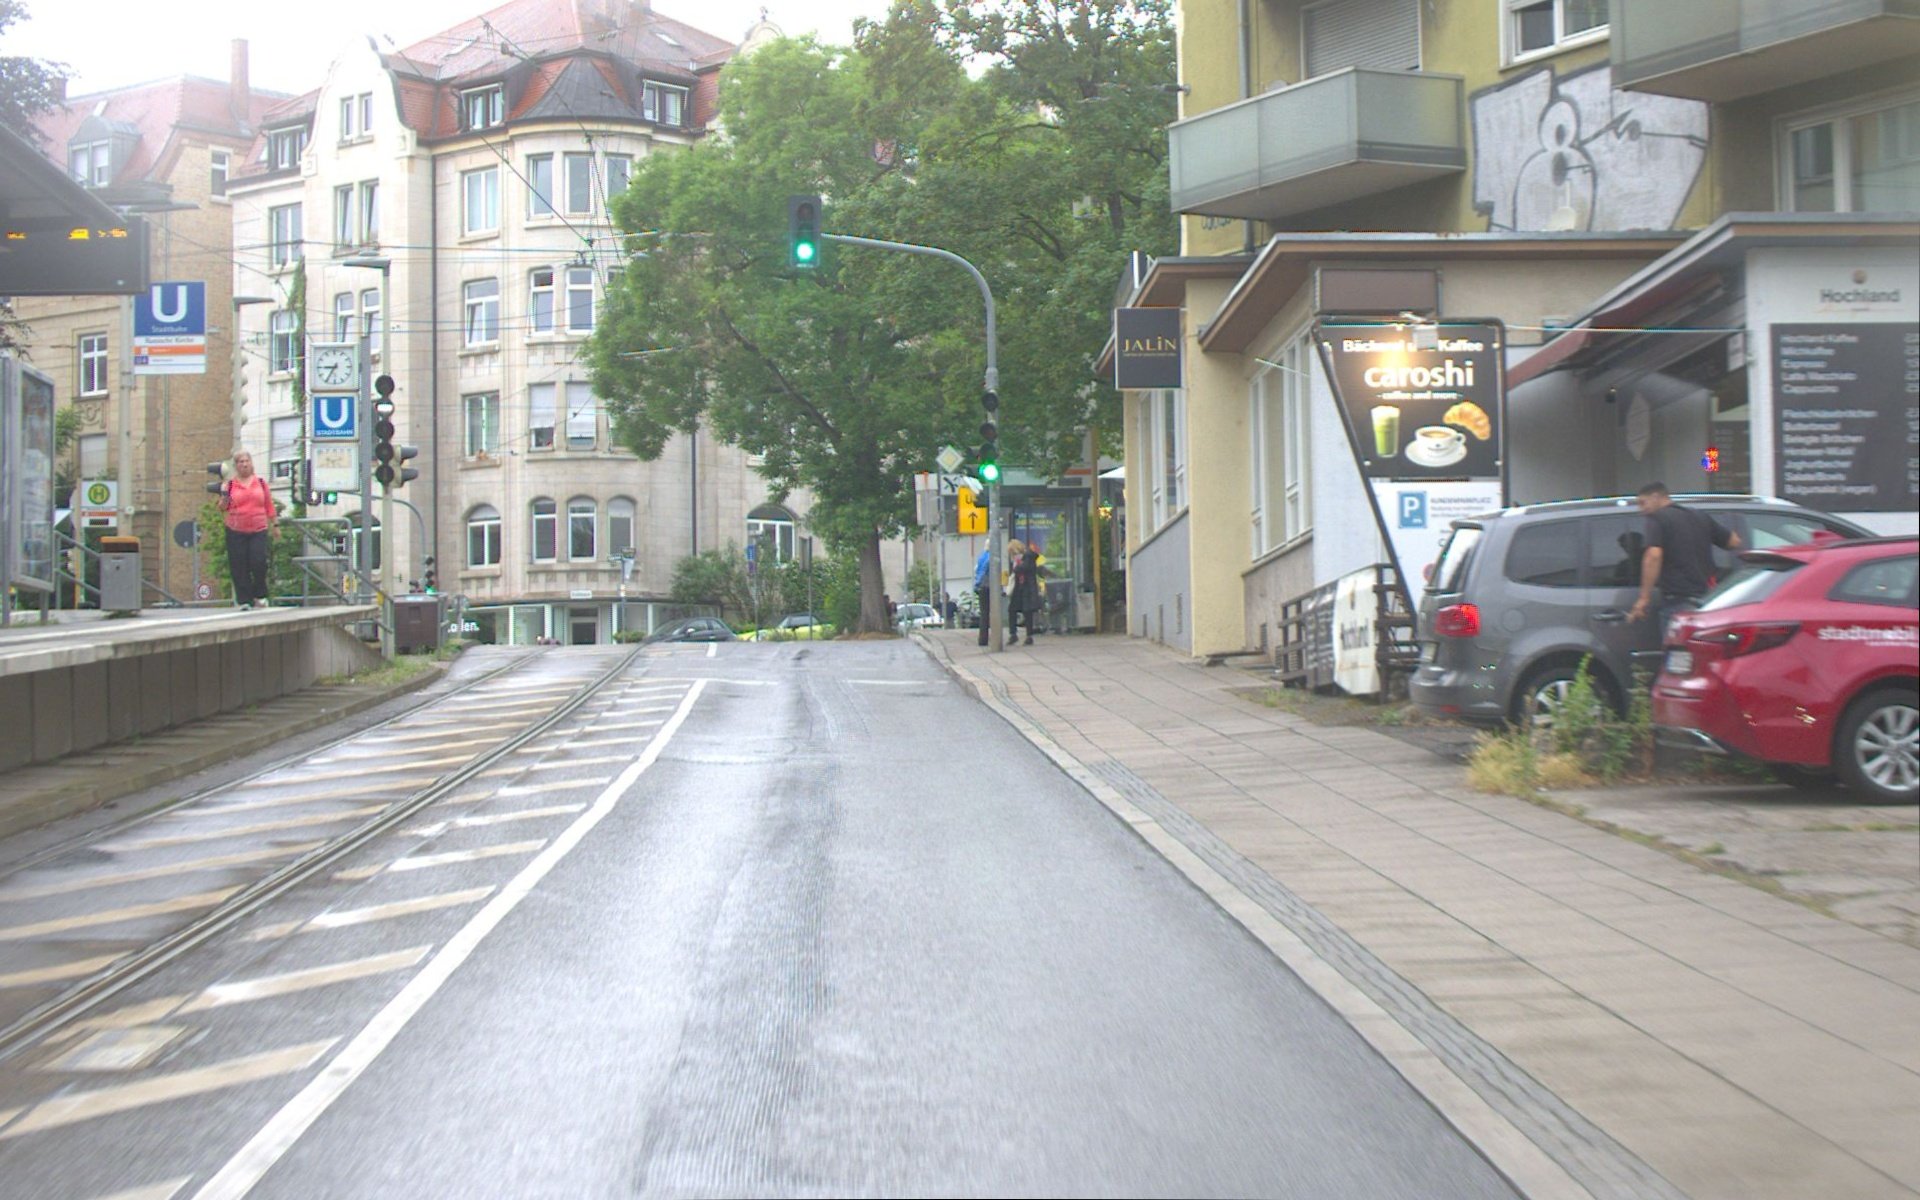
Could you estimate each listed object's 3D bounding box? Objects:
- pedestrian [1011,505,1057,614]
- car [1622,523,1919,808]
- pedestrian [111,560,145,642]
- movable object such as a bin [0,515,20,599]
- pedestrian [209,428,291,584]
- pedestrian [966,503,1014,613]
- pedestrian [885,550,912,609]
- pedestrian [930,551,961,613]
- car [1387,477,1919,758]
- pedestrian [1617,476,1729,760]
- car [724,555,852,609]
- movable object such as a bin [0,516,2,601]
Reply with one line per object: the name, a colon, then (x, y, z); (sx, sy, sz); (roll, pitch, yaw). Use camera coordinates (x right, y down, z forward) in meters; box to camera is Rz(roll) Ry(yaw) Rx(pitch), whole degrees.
pedestrian: (1.076, -0.594, 49.875); (0.545, 1.548, 0.559); (-3, 2, -5)
car: (6.121, 0.271, 18.844); (4.568, 1.432, 1.765); (-2, 1, -2)
pedestrian: (-17.202, 0.020, 71.104); (0.568, 1.678, 0.776); (-2, 0, -10)
movable object such as a bin: (-16.924, -0.748, 59.307); (1.021, 1.429, 1.427); (1, 1, 0)
pedestrian: (-7.172, -0.952, 34.763); (0.671, 1.542, 0.771); (-1, 2, -3)
pedestrian: (0.425, -0.611, 49.529); (0.588, 1.548, 0.650); (-3, 2, -3)
pedestrian: (-1.642, -0.540, 92.080); (0.599, 1.560, 0.546); (1, 1, -12)
pedestrian: (-0.389, -0.467, 90.967); (0.544, 1.624, 0.601); (0, 2, -35)
car: (5.106, 0.071, 22.585); (4.328, 1.668, 1.780); (-2, 1, 0)
pedestrian: (4.424, 0.102, 21.354); (0.607, 1.708, 0.721); (-2, 2, 11)
car: (-5.336, -0.558, 106.785); (3.661, 1.503, 1.736); (-3, 1, -44)
movable object such as a bin: (-16.738, -0.691, 57.508); (1.021, 1.429, 1.444); (1, 1, 0)
